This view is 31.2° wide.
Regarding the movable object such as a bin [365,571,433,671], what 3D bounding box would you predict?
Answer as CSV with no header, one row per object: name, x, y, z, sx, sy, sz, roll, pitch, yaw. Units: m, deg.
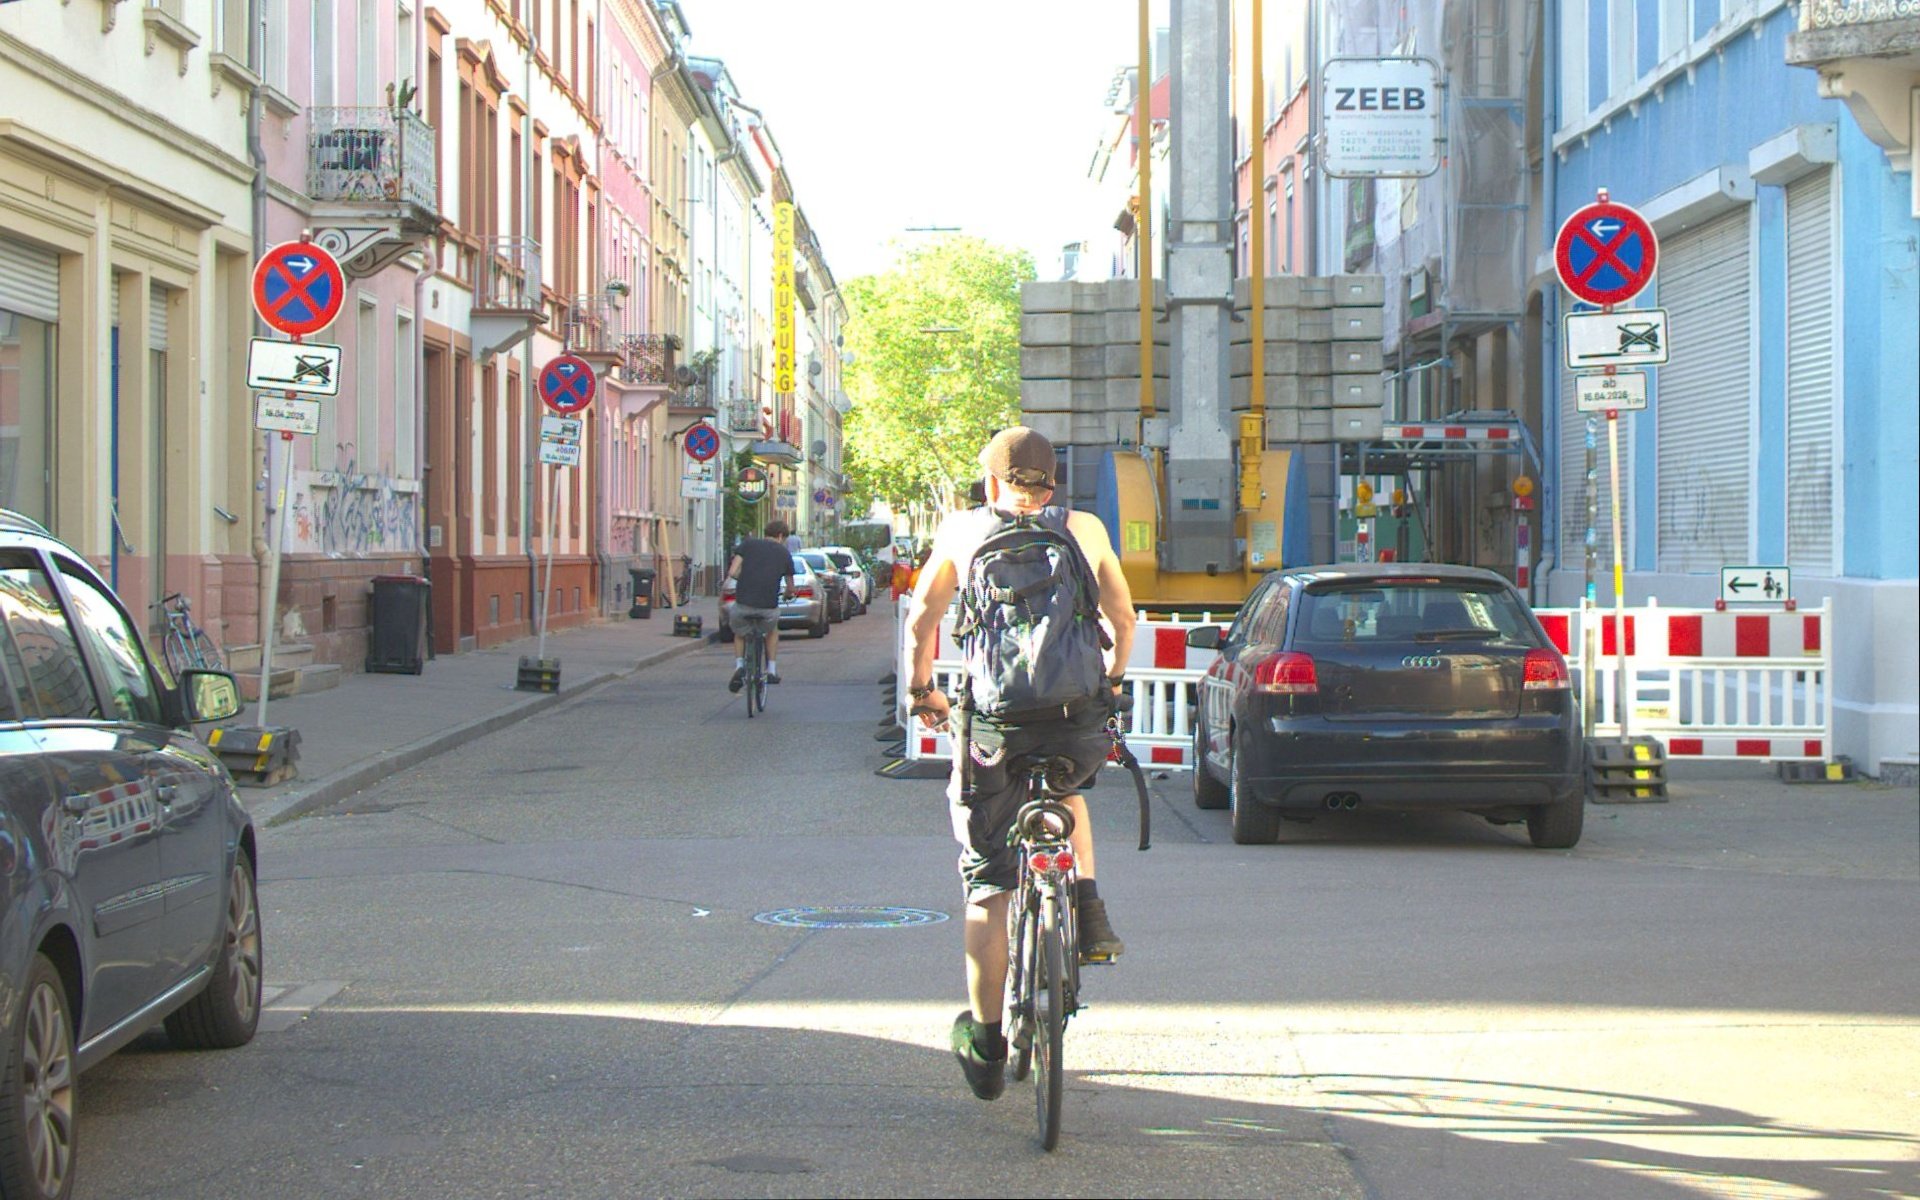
movable object such as a bin,-5.911,0.221,36.243,0.605,1.032,0.596,1,-1,-1

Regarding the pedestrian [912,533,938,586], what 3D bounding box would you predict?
pedestrian,-1.058,-1.221,103.811,0.770,1.573,0.900,1,0,-1

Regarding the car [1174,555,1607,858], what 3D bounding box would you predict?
car,2.205,0.489,18.618,1.771,1.429,4.034,1,1,-1

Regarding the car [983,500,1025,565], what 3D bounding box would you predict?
car,2.629,-4.053,206.890,2.307,3.755,6.770,-2,1,0

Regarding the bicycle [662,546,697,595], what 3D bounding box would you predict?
bicycle,-6.278,-0.664,77.014,0.592,1.085,2.079,1,1,0

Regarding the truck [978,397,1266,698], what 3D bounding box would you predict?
truck,1.557,-0.537,36.316,2.661,2.804,7.393,1,1,0

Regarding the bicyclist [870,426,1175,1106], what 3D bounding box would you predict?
bicyclist,0.151,0.389,8.835,0.702,1.627,1.090,1,1,0

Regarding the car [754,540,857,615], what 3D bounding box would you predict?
car,-3.053,-0.473,68.603,1.710,1.378,4.356,0,2,2

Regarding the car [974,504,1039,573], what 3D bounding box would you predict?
car,1.772,-2.362,133.647,2.307,2.529,6.770,-2,1,0

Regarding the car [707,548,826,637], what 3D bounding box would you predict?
car,-3.209,-0.144,57.636,1.710,1.378,4.506,-2,1,0

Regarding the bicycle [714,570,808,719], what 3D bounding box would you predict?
bicycle,-1.759,0.375,30.686,0.702,1.203,2.342,-1,2,-1

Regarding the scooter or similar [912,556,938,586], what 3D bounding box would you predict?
scooter or similar,-1.057,-0.880,103.362,0.770,0.870,0.771,1,0,-1

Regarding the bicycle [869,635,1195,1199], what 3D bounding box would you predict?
bicycle,0.160,0.736,8.820,0.702,1.204,2.342,1,1,0

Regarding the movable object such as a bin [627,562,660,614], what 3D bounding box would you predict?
movable object such as a bin,-5.868,-0.226,63.772,0.543,0.941,0.487,1,0,1

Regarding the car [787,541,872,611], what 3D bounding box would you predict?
car,-2.833,-0.530,75.242,1.672,1.437,4.165,-2,1,0

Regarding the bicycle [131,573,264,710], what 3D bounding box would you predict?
bicycle,-6.106,0.313,27.615,0.622,1.019,1.818,2,1,0

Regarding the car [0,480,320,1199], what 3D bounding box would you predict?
car,-2.811,0.536,8.633,1.722,1.600,4.167,-1,1,-2

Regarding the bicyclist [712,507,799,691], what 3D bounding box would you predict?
bicyclist,-1.819,-0.018,30.632,0.702,1.599,0.813,-1,2,-1

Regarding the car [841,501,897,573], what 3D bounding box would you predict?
car,-3.248,-2.241,122.540,1.909,2.488,4.166,-1,1,-2

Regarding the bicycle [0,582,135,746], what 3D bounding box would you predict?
bicycle,-6.076,0.409,23.011,0.603,1.019,1.818,4,0,0
